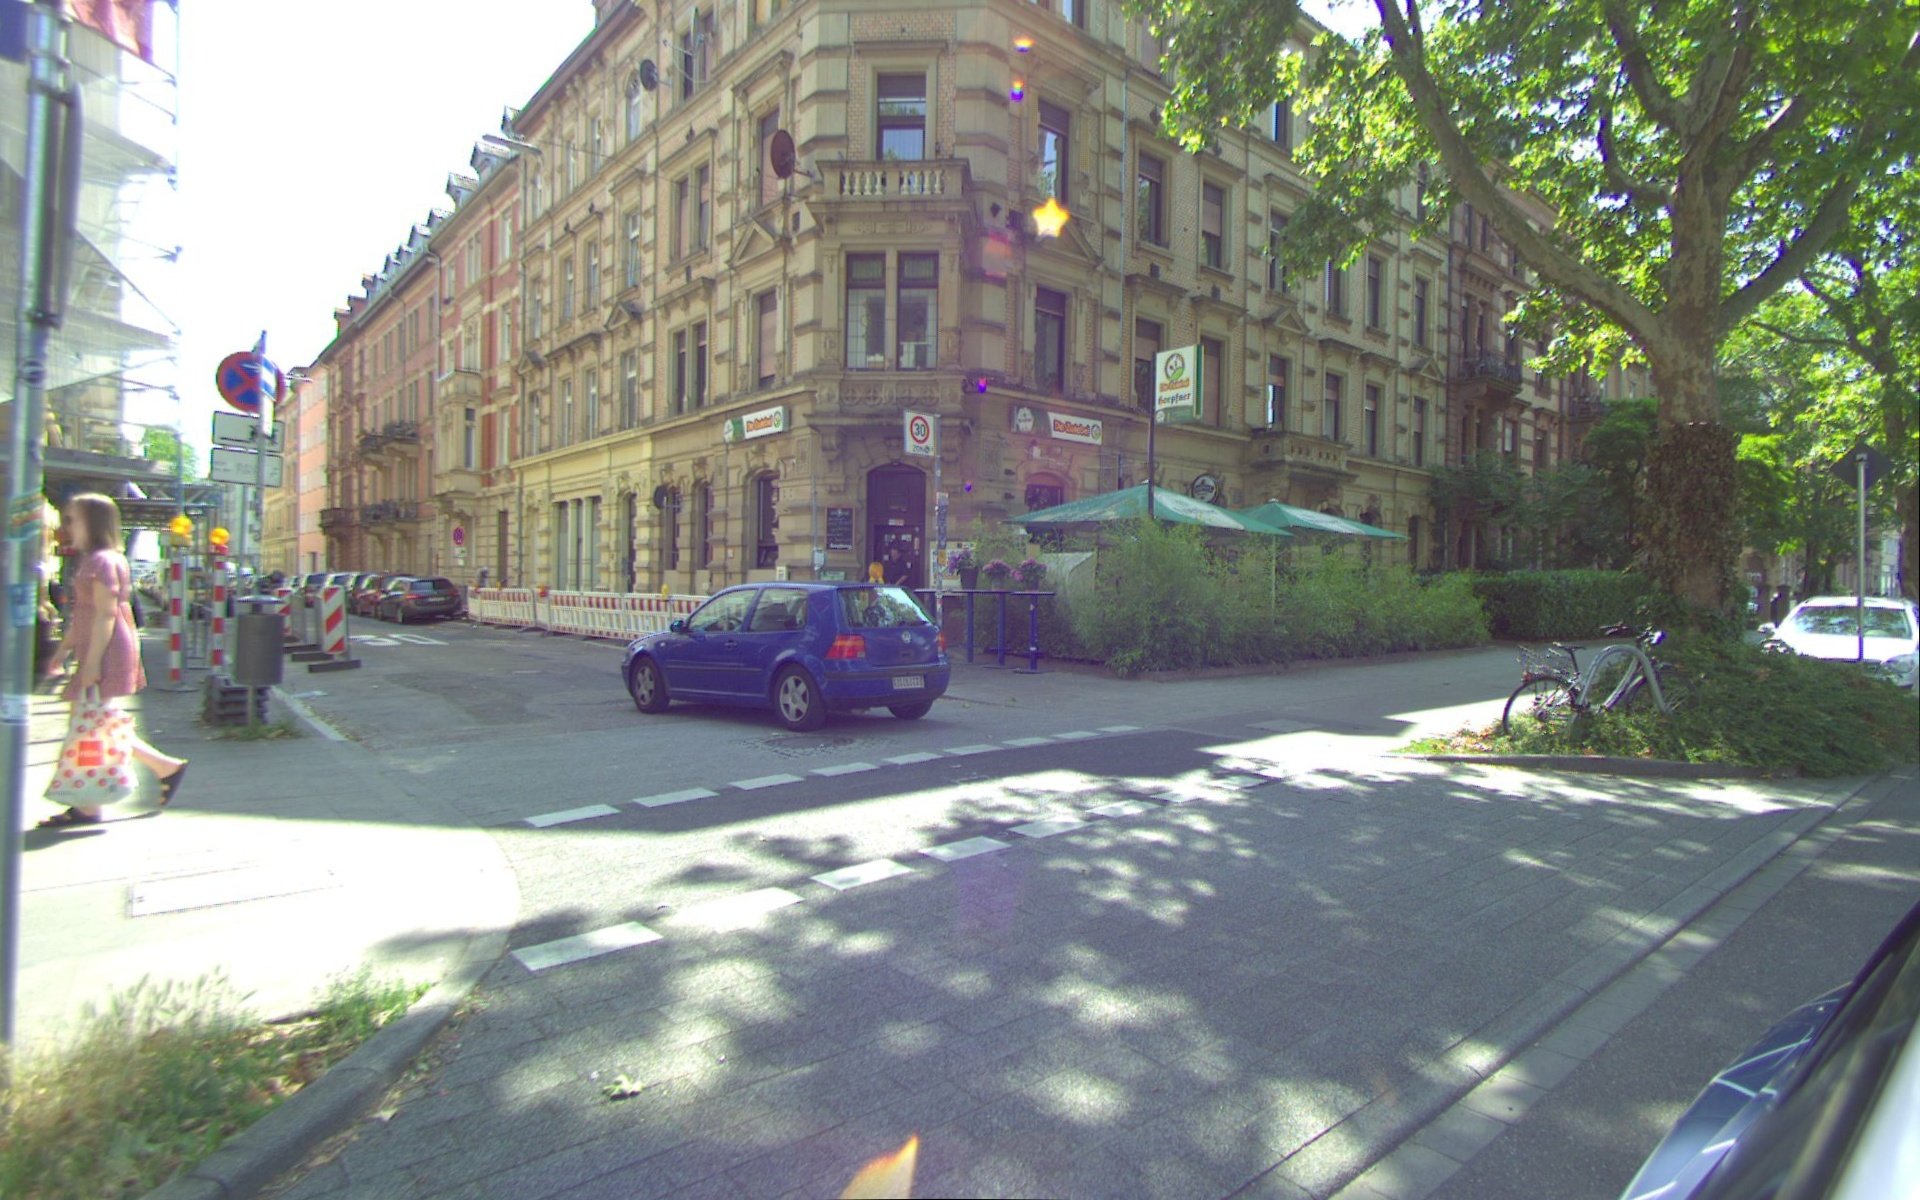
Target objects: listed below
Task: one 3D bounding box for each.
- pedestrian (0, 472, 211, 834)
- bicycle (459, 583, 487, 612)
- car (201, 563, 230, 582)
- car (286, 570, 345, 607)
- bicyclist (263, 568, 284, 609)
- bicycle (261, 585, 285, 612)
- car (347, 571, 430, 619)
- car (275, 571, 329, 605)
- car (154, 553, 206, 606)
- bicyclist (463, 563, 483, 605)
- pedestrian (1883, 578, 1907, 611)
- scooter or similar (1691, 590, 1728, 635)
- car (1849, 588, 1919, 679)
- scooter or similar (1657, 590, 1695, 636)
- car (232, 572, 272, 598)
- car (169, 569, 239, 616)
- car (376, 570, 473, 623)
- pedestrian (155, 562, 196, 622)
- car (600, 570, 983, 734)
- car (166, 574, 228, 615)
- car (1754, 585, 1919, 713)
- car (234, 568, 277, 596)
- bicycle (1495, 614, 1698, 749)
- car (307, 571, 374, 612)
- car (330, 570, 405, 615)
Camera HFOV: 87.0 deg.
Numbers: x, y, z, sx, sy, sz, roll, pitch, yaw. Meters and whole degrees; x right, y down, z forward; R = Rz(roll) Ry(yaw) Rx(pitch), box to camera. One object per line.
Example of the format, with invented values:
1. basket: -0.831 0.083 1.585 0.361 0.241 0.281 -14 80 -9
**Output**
1. pedestrian: -4.706 0.258 5.605 0.837 1.808 0.737 0 0 -41
2. bicycle: -17.223 -0.085 35.796 0.530 0.991 1.307 0 1 -43
3. car: -71.400 -2.642 97.012 1.965 1.760 3.995 0 1 -40
4. car: -32.081 -0.612 50.328 1.965 1.760 3.995 0 1 -40
5. bicyclist: -27.994 -0.463 41.271 0.614 1.643 0.693 0 1 -42
6. bicycle: -28.077 -0.081 41.353 0.523 1.062 1.922 0 1 -42
7. car: -21.192 -0.233 37.435 1.965 1.660 3.995 0 1 -40
8. car: -35.503 -0.687 54.550 1.965 1.760 3.995 0 1 -40
9. car: -37.295 -0.976 48.343 1.879 2.403 4.244 0 1 -39
10. bicyclist: -17.245 -0.556 35.834 0.524 1.471 0.460 0 1 -44
11. pedestrian: 50.080 -0.316 54.209 0.951 1.740 0.796 0 1 -41
12. scooter or similar: 22.066 0.358 29.804 1.124 1.298 0.583 0 1 -38
13. car: 18.134 0.571 18.754 4.561 1.527 1.837 0 2 -40
14. scooter or similar: 19.939 0.353 28.177 1.124 1.263 0.583 0 1 -40
15. car: -49.881 -1.094 71.253 1.965 1.760 3.995 0 1 -40
16. car: -26.530 -0.295 35.478 1.698 1.548 3.490 0 1 -41
17. car: -17.286 -0.159 32.595 1.965 1.571 3.995 0 1 -40
18. pedestrian: -24.347 -0.265 31.397 0.921 1.821 1.036 0 1 -44
19. car: -1.913 0.458 10.829 4.073 1.427 1.861 -1 0 40
20. car: -30.076 -0.246 39.878 1.698 1.548 3.489 0 1 -41
21. car: 12.750 0.572 14.287 4.418 1.527 1.835 0 2 -44
22. car: -46.783 -1.217 67.187 1.965 1.760 3.995 0 1 -40
23. bicycle: 5.546 0.696 8.840 1.583 1.119 0.423 1 1 -8
24. car: -27.852 -0.403 45.440 1.965 1.760 3.995 0 1 -40
25. car: -24.185 -0.338 41.268 1.965 1.760 3.995 0 1 -40
